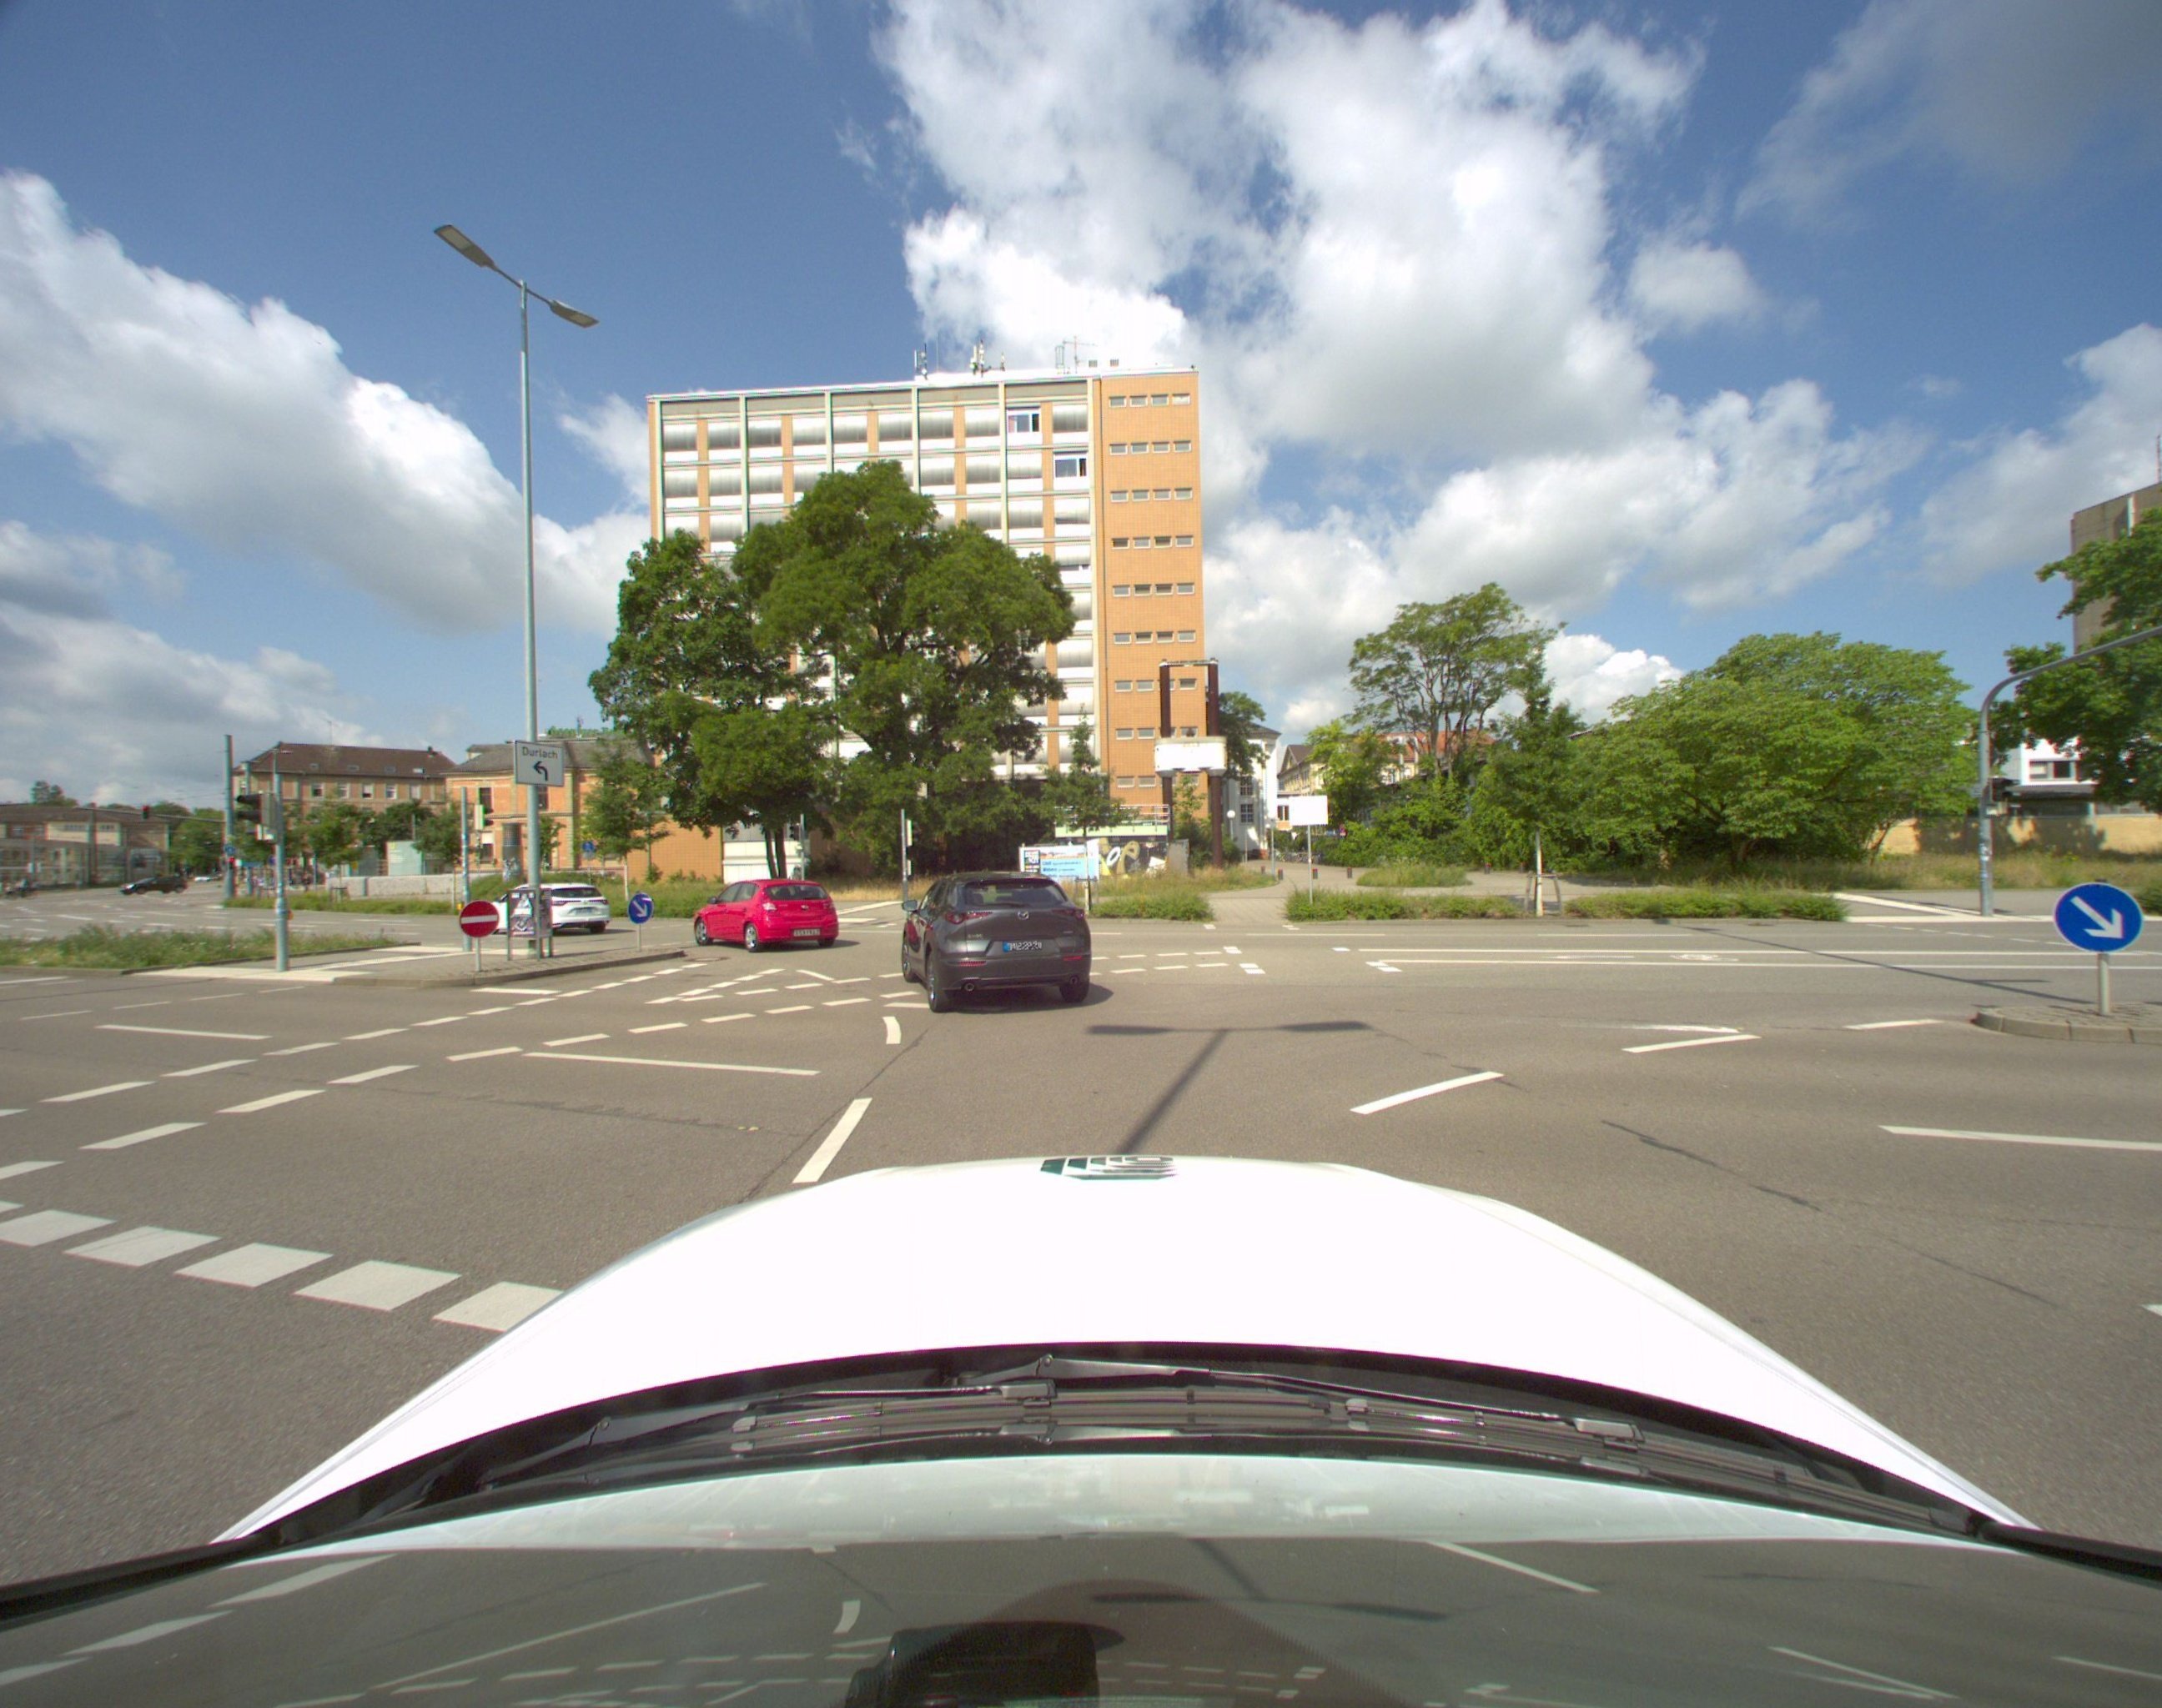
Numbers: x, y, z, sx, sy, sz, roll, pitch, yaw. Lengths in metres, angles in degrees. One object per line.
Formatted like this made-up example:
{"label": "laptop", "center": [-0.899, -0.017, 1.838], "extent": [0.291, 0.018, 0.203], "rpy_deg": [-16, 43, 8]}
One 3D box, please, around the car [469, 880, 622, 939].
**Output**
{"label": "car", "center": [-15.238, 1.523, 23.131], "extent": [4.279, 1.472, 1.866], "rpy_deg": [-2, 0, 30]}

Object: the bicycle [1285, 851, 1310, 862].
{"label": "bicycle", "center": [19.495, 0.185, 73.488], "extent": [2.046, 0.936, 0.805], "rpy_deg": [-2, 0, 4]}

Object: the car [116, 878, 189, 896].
{"label": "car", "center": [-87.593, 3.110, 76.889], "extent": [1.794, 1.508, 4.098], "rpy_deg": [-2, 0, 16]}

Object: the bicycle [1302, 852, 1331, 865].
{"label": "bicycle", "center": [18.369, 0.323, 63.501], "extent": [2.046, 0.936, 0.805], "rpy_deg": [-2, 0, 4]}

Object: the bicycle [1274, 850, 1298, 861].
{"label": "bicycle", "center": [19.413, 0.154, 77.248], "extent": [2.046, 0.936, 0.805], "rpy_deg": [-2, 0, 4]}

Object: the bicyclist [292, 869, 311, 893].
{"label": "bicyclist", "center": [-55.287, 1.912, 57.754], "extent": [0.953, 1.702, 0.743], "rpy_deg": [-2, 1, 34]}

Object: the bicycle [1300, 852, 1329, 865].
{"label": "bicycle", "center": [18.643, 0.345, 65.062], "extent": [2.046, 0.936, 0.805], "rpy_deg": [-2, 0, 4]}

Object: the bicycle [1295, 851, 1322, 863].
{"label": "bicycle", "center": [19.297, 0.222, 69.007], "extent": [2.046, 0.936, 0.805], "rpy_deg": [-2, 0, 4]}

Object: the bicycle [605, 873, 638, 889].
{"label": "bicycle", "center": [-34.873, 2.052, 61.845], "extent": [2.061, 1.072, 0.665], "rpy_deg": [-1, 0, -5]}

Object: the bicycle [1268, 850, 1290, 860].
{"label": "bicycle", "center": [19.920, 0.117, 82.089], "extent": [2.046, 0.936, 0.805], "rpy_deg": [-2, 0, 4]}

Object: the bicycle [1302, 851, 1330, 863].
{"label": "bicycle", "center": [19.517, 0.236, 67.649], "extent": [2.046, 0.936, 0.805], "rpy_deg": [-2, 0, 4]}

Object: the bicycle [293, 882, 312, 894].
{"label": "bicycle", "center": [-55.107, 2.412, 57.635], "extent": [1.766, 0.810, 0.631], "rpy_deg": [-2, 1, 35]}

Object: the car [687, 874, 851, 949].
{"label": "car", "center": [-6.854, 1.199, 17.704], "extent": [4.016, 1.440, 1.833], "rpy_deg": [-3, -3, 44]}

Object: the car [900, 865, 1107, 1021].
{"label": "car", "center": [-1.210, 0.949, 10.401], "extent": [1.810, 1.508, 4.180], "rpy_deg": [-1, -1, -17]}

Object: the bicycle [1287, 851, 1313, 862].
{"label": "bicycle", "center": [19.497, 0.195, 72.472], "extent": [2.046, 0.936, 0.805], "rpy_deg": [-2, 0, 4]}
